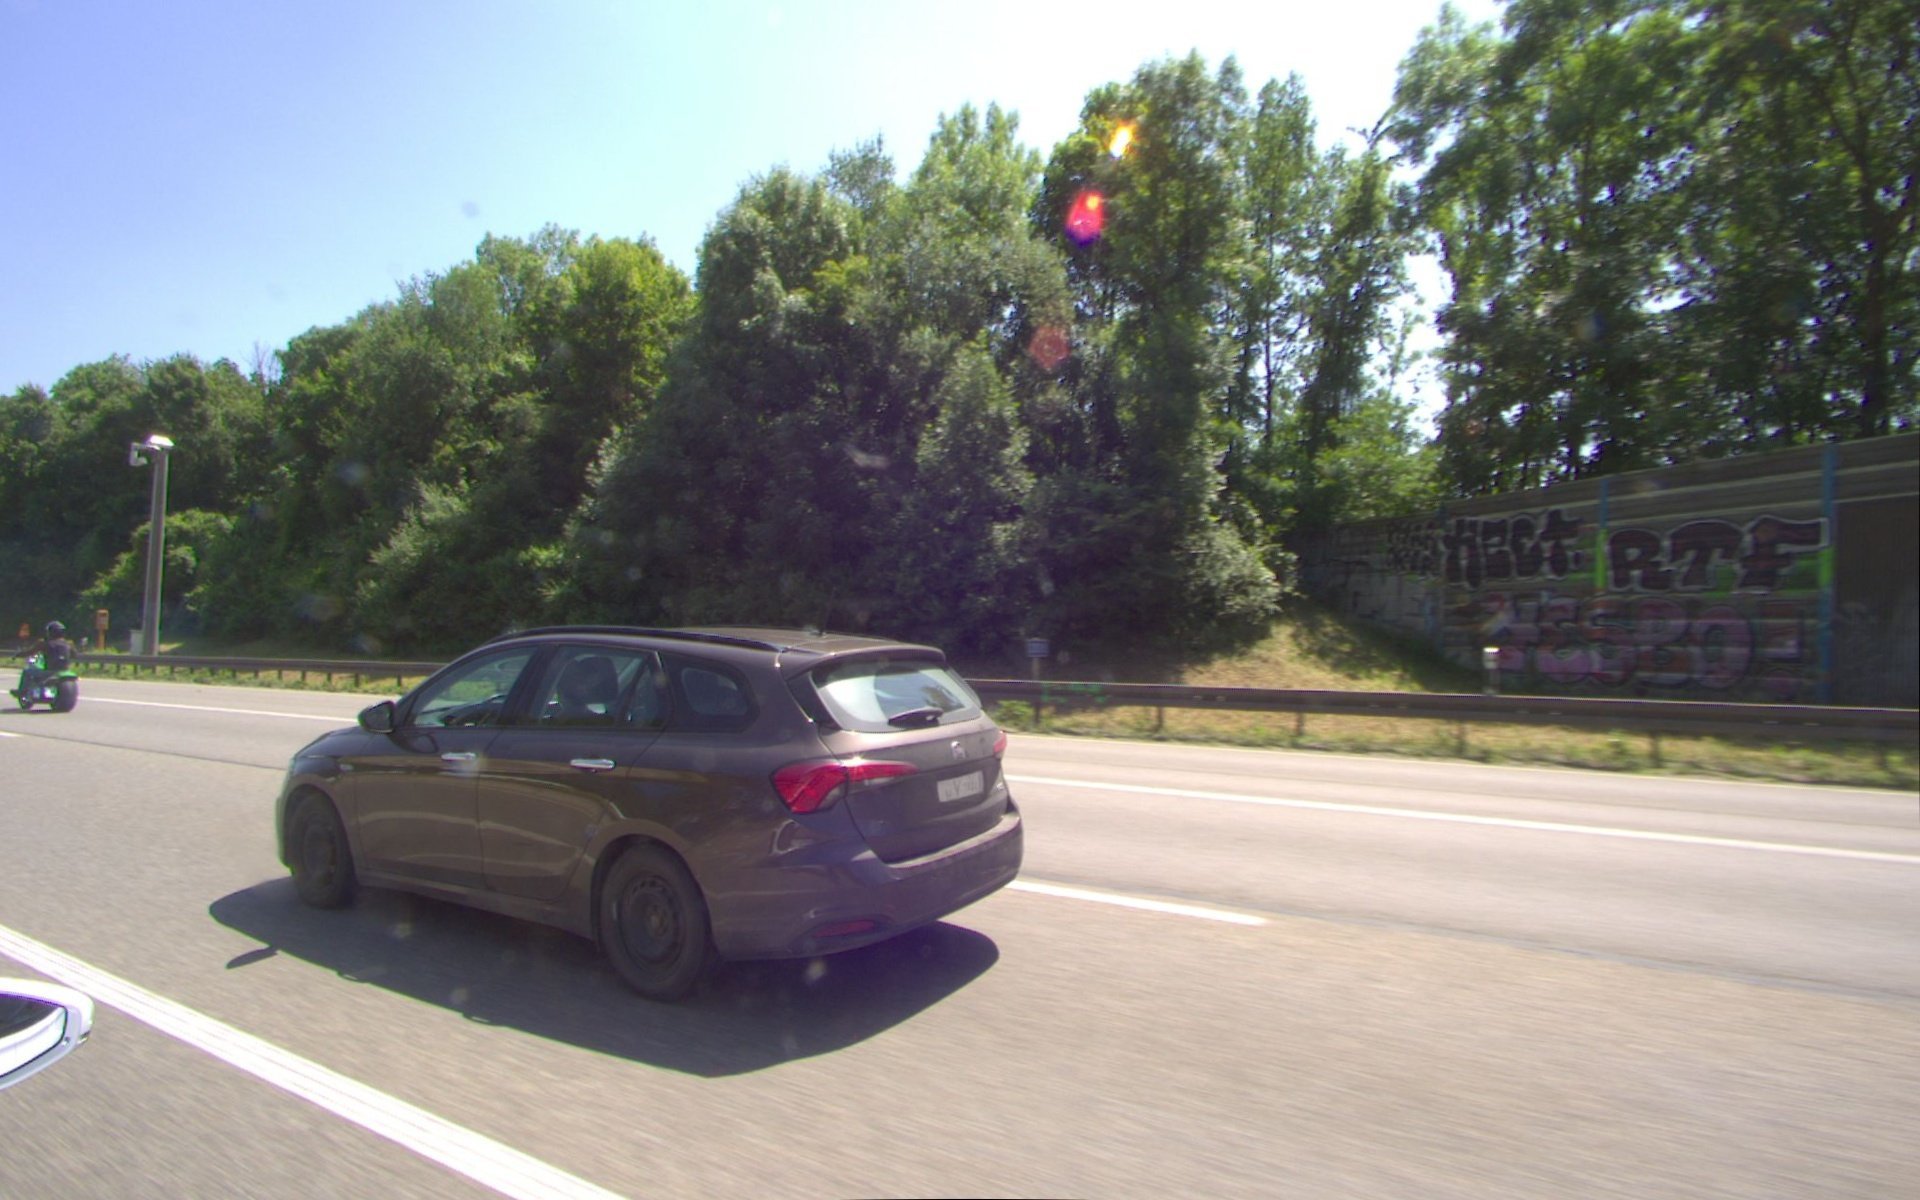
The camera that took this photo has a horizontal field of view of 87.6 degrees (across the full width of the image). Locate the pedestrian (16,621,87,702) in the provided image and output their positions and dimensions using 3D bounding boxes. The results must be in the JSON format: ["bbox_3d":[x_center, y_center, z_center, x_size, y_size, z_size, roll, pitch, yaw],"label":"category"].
[{"bbox_3d":[-17.167,1.151,18.925,0.630,1.497,0.849,0,-1,36],"label":"pedestrian"}]

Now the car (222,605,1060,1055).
[{"bbox_3d":[-1.828,0.827,5.341,4.336,1.532,1.836,0,-2,31],"label":"car"}]

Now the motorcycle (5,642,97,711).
[{"bbox_3d":[-17.279,1.415,19.020,2.247,1.197,0.857,0,-2,37],"label":"motorcycle"}]
